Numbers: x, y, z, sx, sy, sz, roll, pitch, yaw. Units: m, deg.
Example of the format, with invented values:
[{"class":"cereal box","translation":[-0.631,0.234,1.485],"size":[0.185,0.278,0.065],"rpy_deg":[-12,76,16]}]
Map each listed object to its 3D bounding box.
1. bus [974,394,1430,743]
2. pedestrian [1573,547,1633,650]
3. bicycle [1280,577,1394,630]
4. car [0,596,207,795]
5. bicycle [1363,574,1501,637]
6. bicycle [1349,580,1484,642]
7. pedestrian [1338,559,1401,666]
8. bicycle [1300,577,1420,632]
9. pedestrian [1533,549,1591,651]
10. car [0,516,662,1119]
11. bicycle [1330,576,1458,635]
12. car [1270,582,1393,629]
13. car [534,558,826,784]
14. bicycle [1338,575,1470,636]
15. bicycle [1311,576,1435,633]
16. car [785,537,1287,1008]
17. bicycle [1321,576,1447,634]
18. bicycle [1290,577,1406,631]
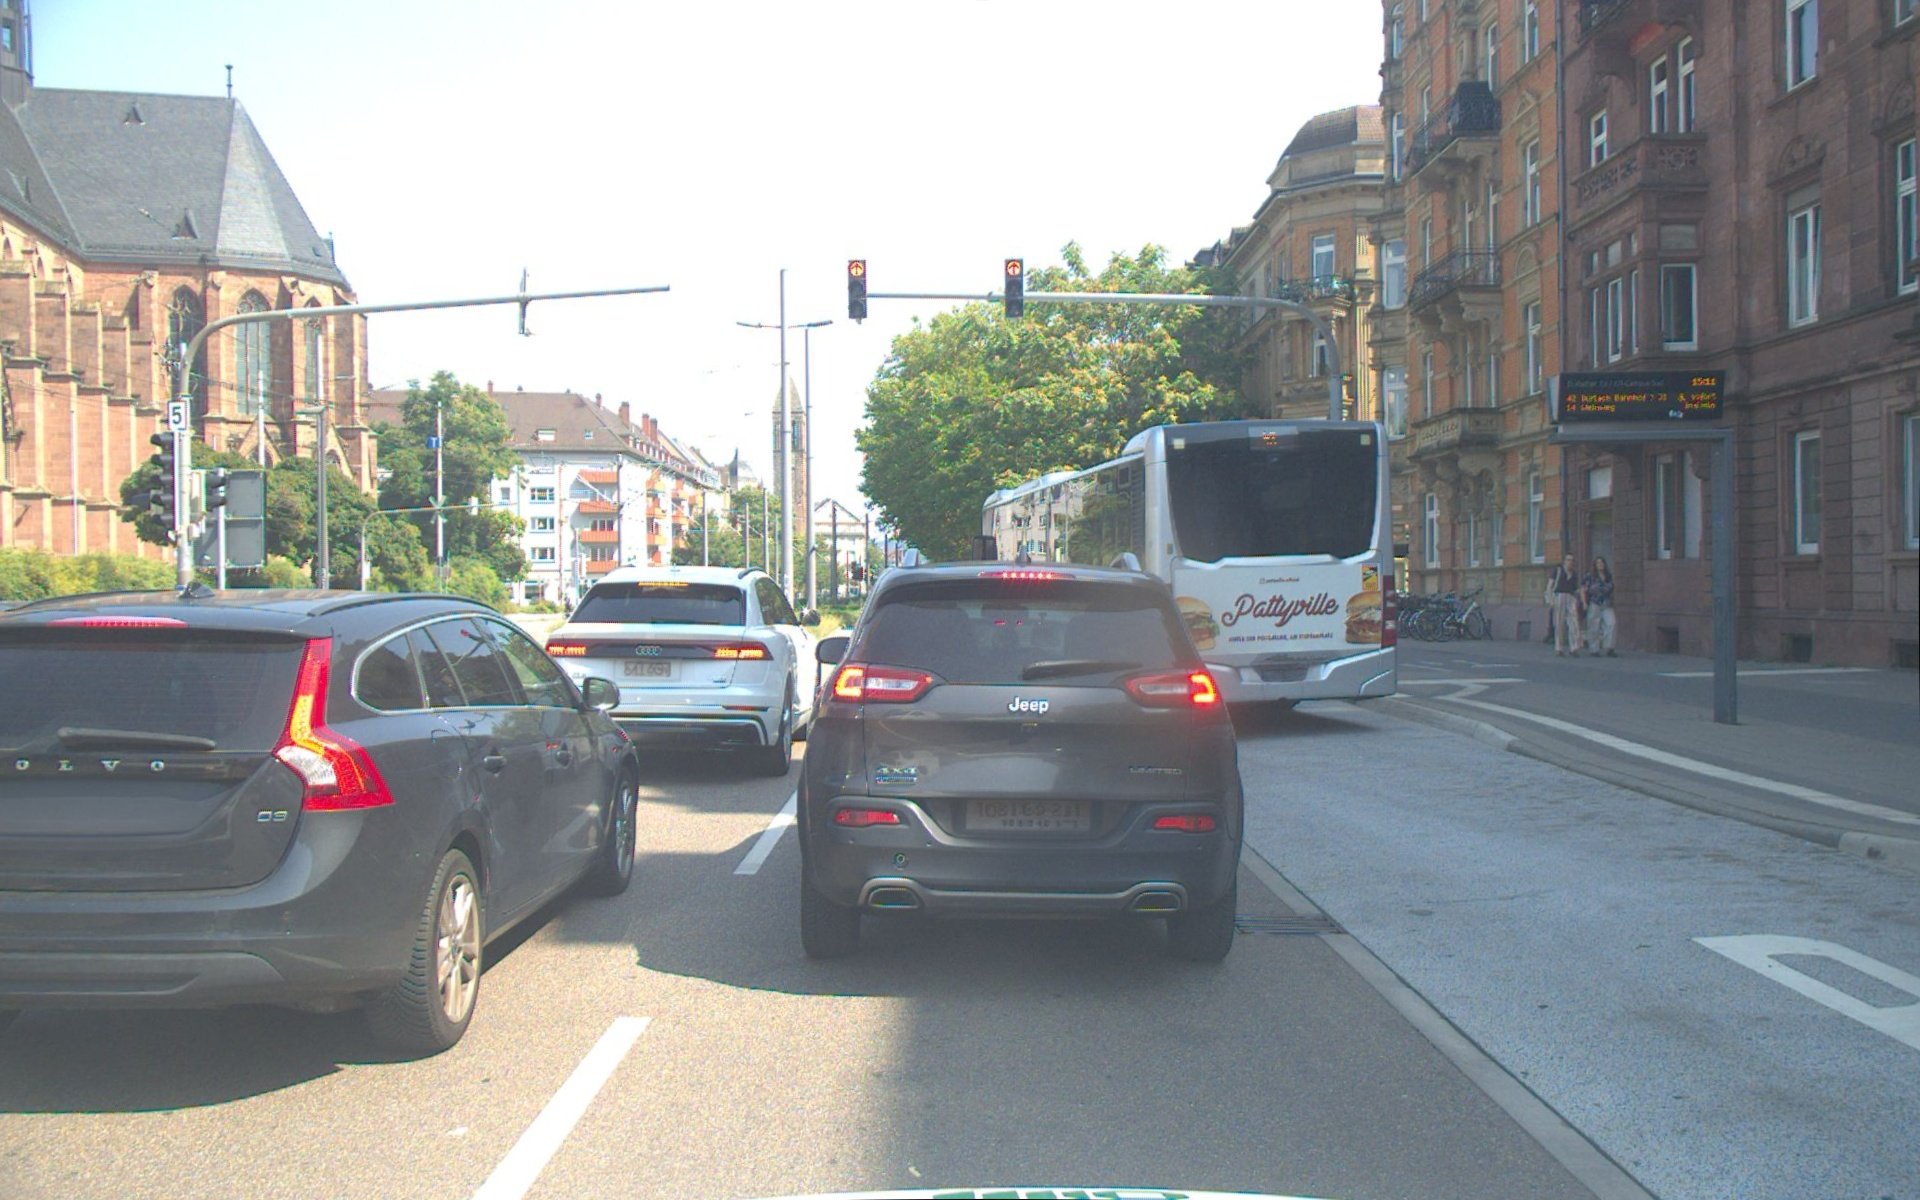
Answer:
[{"class":"bus","translation":[2.372,-0.292,21.626],"size":[2.692,3.161,11.936],"rpy_deg":[-3,0,-7]},{"class":"pedestrian","translation":[11.511,-0.022,29.623],"size":[0.700,1.809,0.870],"rpy_deg":[-1,0,-2]},{"class":"bicycle","translation":[10.552,0.098,46.339],"size":[2.943,1.397,0.947],"rpy_deg":[-1,0,-2]},{"class":"car","translation":[-8.083,0.750,13.561],"size":[1.711,1.460,4.572],"rpy_deg":[-2,1,-1]},{"class":"bicycle","translation":[10.876,0.122,38.170],"size":[2.933,1.395,0.871],"rpy_deg":[-1,0,-2]},{"class":"bicycle","translation":[10.774,0.253,39.074],"size":[2.933,1.395,0.871],"rpy_deg":[-1,0,-2]},{"class":"pedestrian","translation":[6.996,0.218,28.295],"size":[0.879,1.771,0.769],"rpy_deg":[-2,0,6]},{"class":"bicycle","translation":[10.615,0.111,43.981],"size":[2.943,1.397,0.947],"rpy_deg":[-1,0,-2]},{"class":"pedestrian","translation":[10.795,-0.001,29.693],"size":[0.700,1.807,0.847],"rpy_deg":[-1,0,-2]},{"class":"car","translation":[-2.431,0.579,6.671],"size":[1.712,1.642,4.308],"rpy_deg":[1,0,-1]},{"class":"bicycle","translation":[10.731,0.126,40.934],"size":[2.933,1.395,0.871],"rpy_deg":[-1,0,-2]},{"class":"car","translation":[12.941,0.179,57.680],"size":[3.858,1.547,1.680],"rpy_deg":[-1,0,-8]},{"class":"car","translation":[-2.262,0.510,14.483],"size":[1.863,1.680,4.308],"rpy_deg":[0,0,-1]},{"class":"bicycle","translation":[10.721,0.126,39.986],"size":[2.933,1.395,0.871],"rpy_deg":[-1,0,-2]},{"class":"bicycle","translation":[10.714,0.114,42.972],"size":[2.943,1.397,0.947],"rpy_deg":[-1,0,-2]},{"class":"car","translation":[0.290,0.607,8.123],"size":[1.795,1.680,4.308],"rpy_deg":[1,0,0]},{"class":"bicycle","translation":[10.718,0.120,41.877],"size":[2.943,1.397,0.947],"rpy_deg":[-1,0,-2]},{"class":"bicycle","translation":[10.606,0.101,45.298],"size":[2.943,1.397,0.947],"rpy_deg":[-1,0,-2]}]
